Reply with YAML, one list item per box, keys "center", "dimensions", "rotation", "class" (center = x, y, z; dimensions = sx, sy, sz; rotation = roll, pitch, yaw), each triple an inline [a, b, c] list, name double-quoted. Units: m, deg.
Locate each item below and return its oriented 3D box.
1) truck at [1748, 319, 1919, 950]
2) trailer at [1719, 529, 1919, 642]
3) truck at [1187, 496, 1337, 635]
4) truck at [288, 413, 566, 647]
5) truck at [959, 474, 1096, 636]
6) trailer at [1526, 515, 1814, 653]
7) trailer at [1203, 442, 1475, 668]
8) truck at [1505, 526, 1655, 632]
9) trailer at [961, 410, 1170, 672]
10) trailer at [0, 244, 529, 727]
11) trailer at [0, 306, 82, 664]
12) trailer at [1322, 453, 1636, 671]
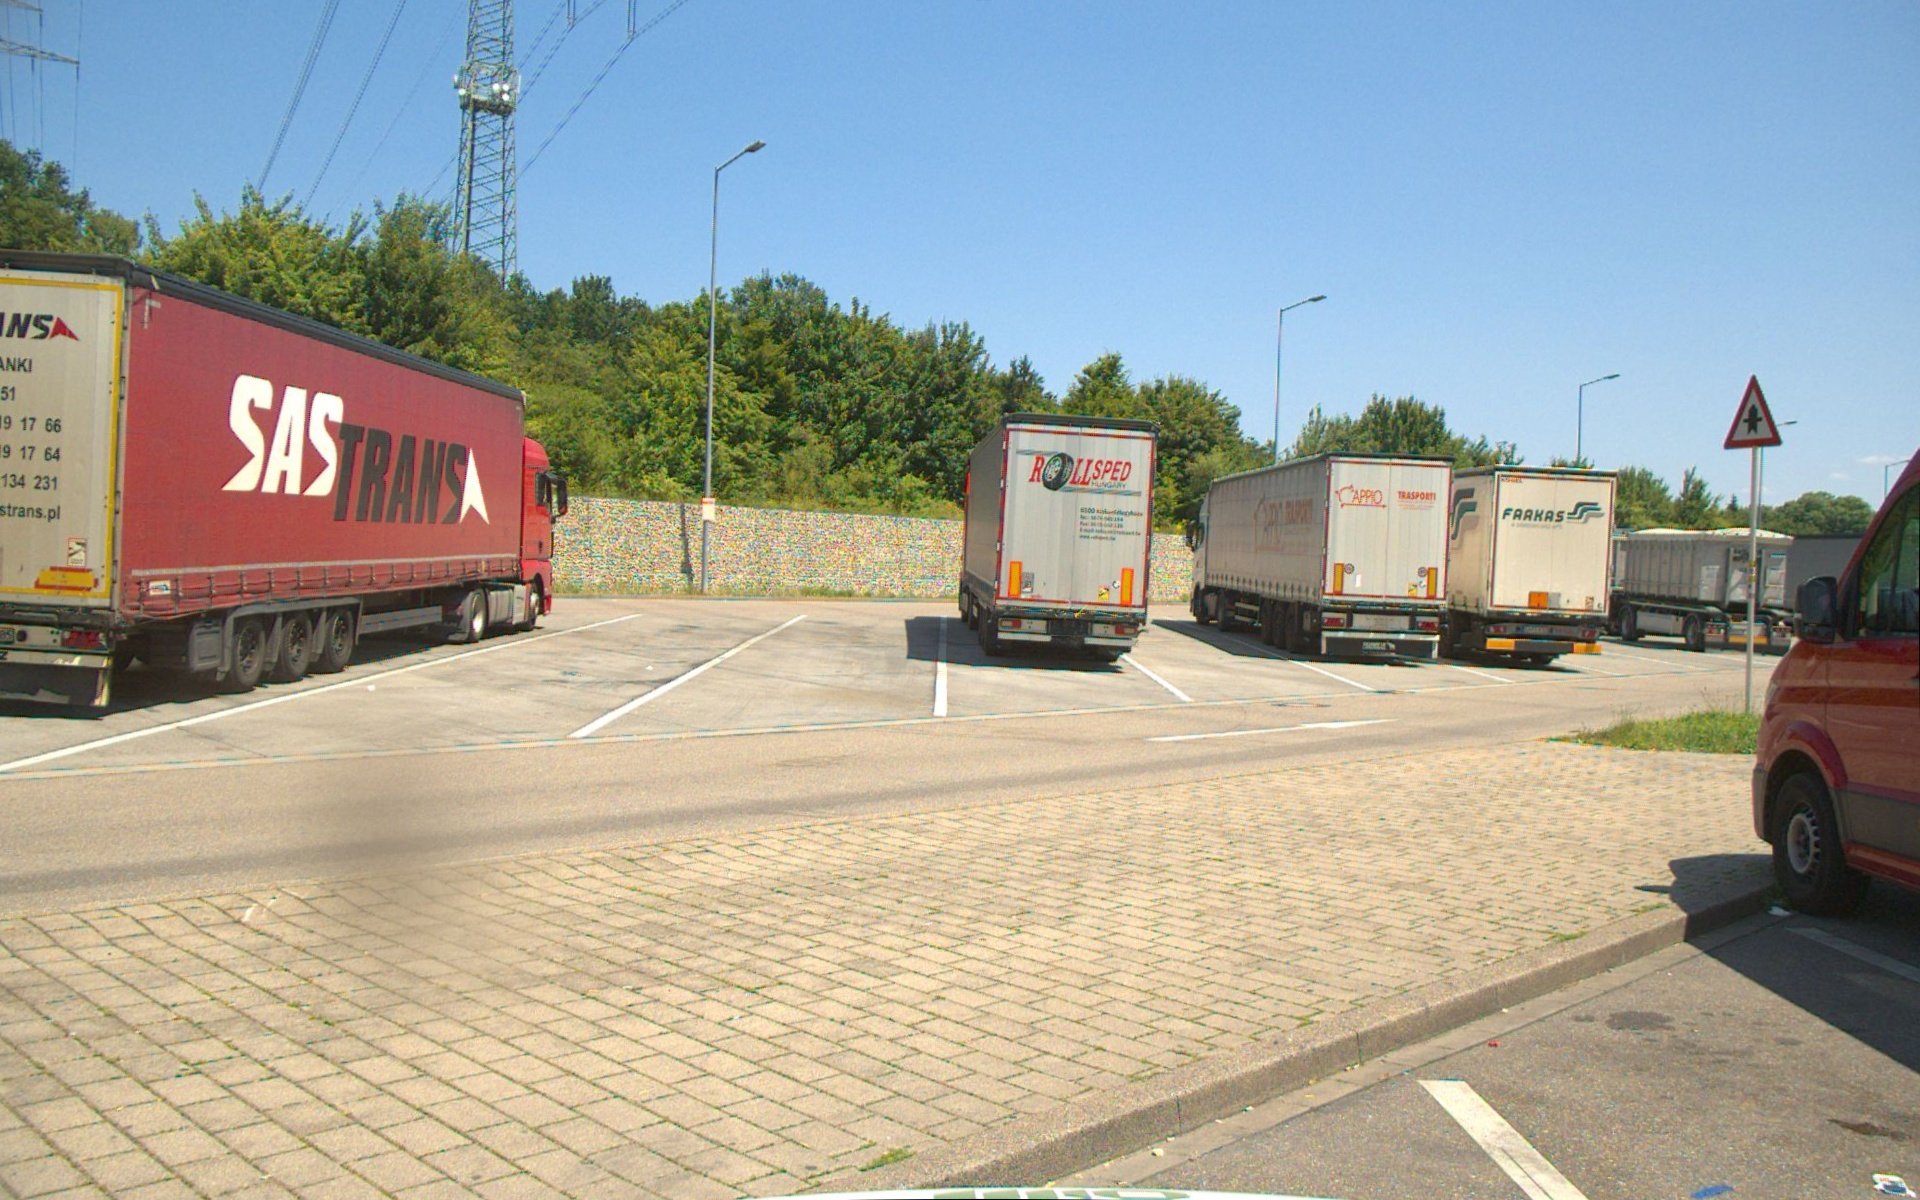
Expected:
- center: [4.998, 0.159, 5.520]
  dimensions: [1.969, 2.697, 6.457]
  rotation: [1, 0, 3]
  class: "truck"
- center: [34.786, -0.714, 65.450]
  dimensions: [2.800, 3.972, 13.762]
  rotation: [2, 2, -1]
  class: "trailer"
- center: [8.127, -0.987, 45.267]
  dimensions: [2.808, 3.421, 5.974]
  rotation: [2, 2, -1]
  class: "truck"
- center: [-8.797, -1.163, 28.067]
  dimensions: [2.755, 3.421, 5.974]
  rotation: [2, 2, -1]
  class: "truck"
- center: [1.476, -1.094, 39.347]
  dimensions: [2.808, 3.421, 5.974]
  rotation: [2, 2, -1]
  class: "truck"
- center: [21.835, -0.684, 52.249]
  dimensions: [2.800, 3.662, 13.762]
  rotation: [2, 2, -1]
  class: "trailer"
- center: [8.250, -1.103, 38.504]
  dimensions: [2.800, 4.180, 13.762]
  rotation: [2, 2, -1]
  class: "trailer"
- center: [21.736, -0.799, 58.344]
  dimensions: [2.808, 3.421, 5.974]
  rotation: [2, 2, -1]
  class: "truck"
- center: [1.677, -1.177, 33.150]
  dimensions: [2.800, 4.040, 13.761]
  rotation: [2, 2, -2]
  class: "trailer"
- center: [-8.688, -1.270, 21.251]
  dimensions: [2.764, 4.141, 13.763]
  rotation: [2, 2, -1]
  class: "trailer"
- center: [-12.484, -1.258, 15.795]
  dimensions: [2.651, 4.173, 10.389]
  rotation: [2, 2, -1]
  class: "trailer"
- center: [11.770, -0.993, 39.569]
  dimensions: [2.800, 4.180, 13.762]
  rotation: [2, 2, -1]
  class: "trailer"
